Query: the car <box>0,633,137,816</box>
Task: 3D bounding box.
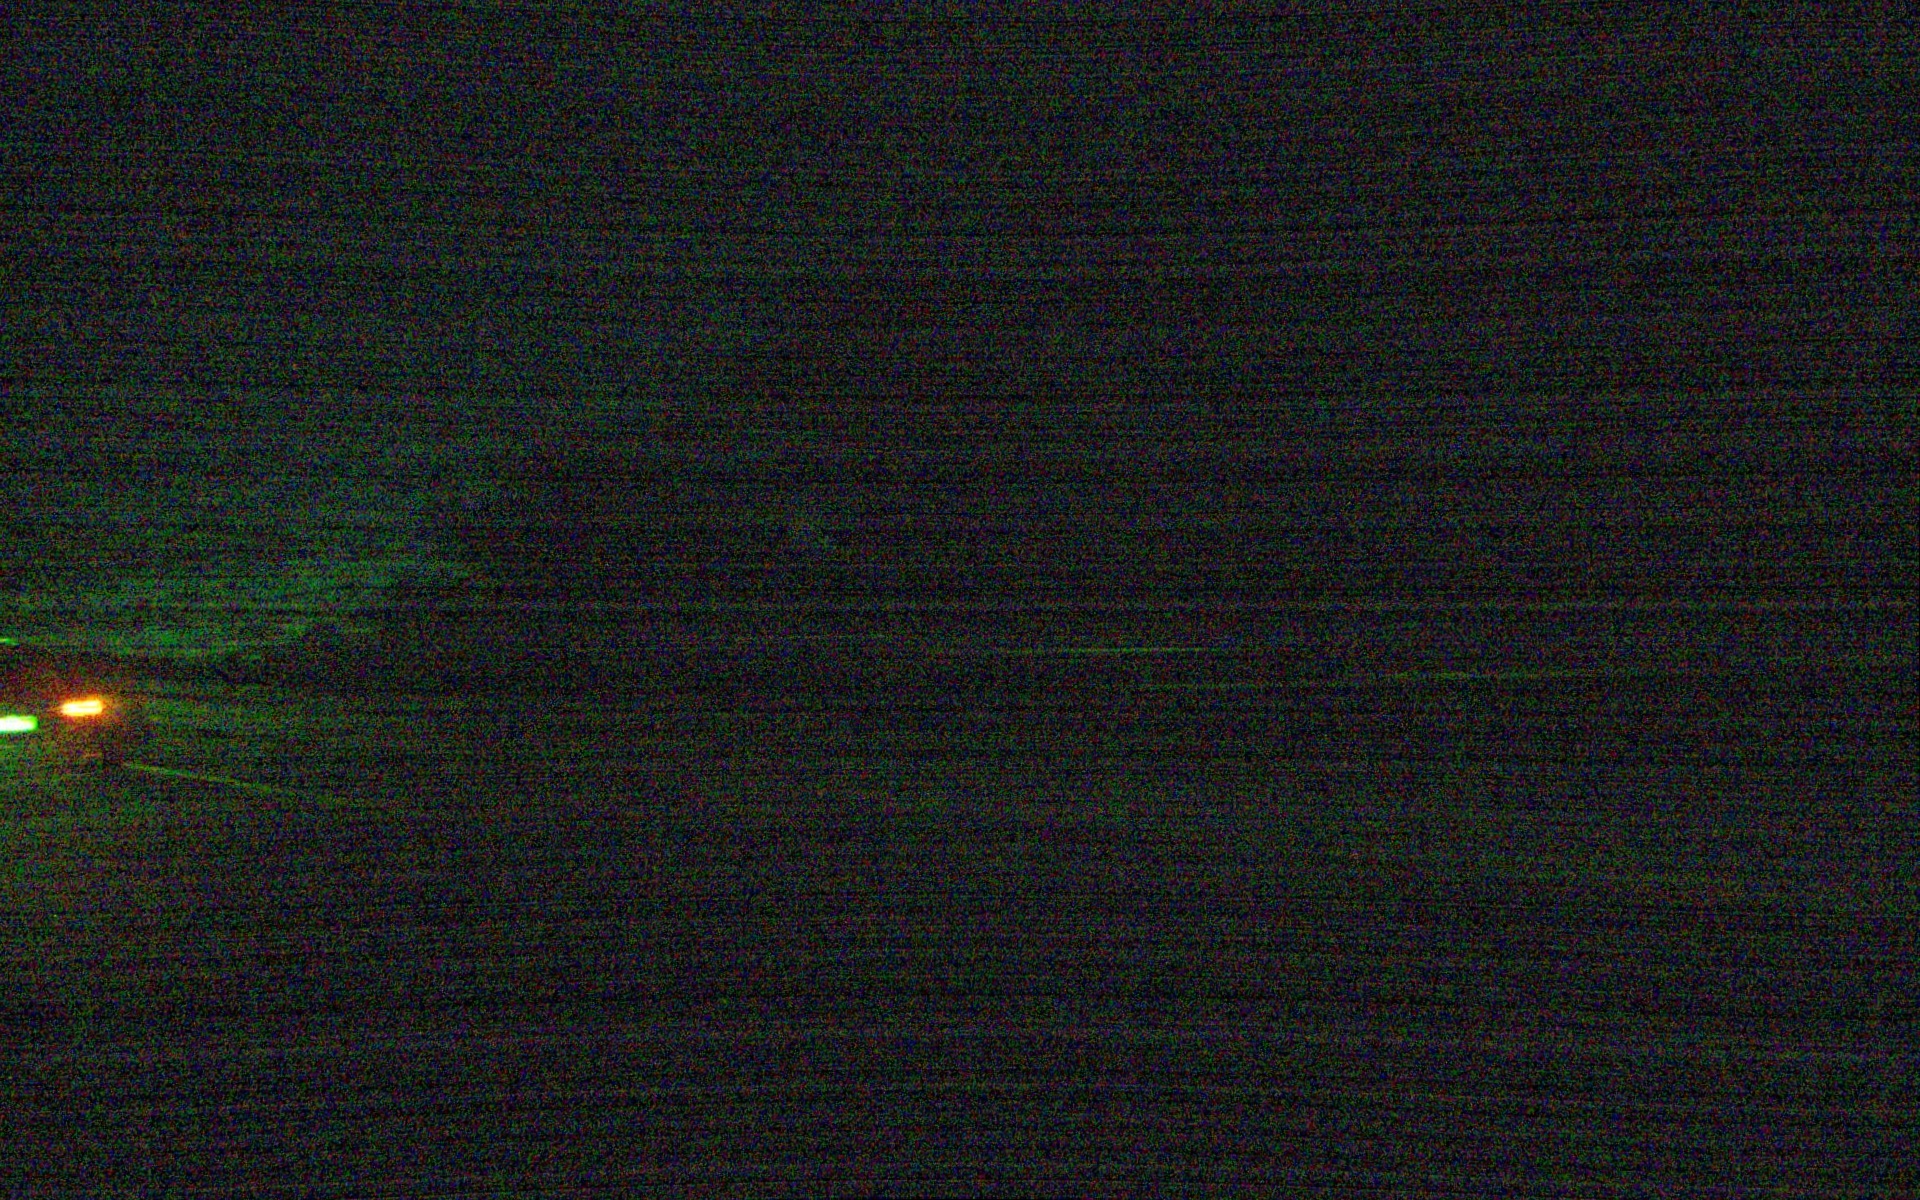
[{"bbox_3d":[-9.687,1.040,9.263,4.805,1.445,1.804,-1,-1,32],"label":"car"}]
